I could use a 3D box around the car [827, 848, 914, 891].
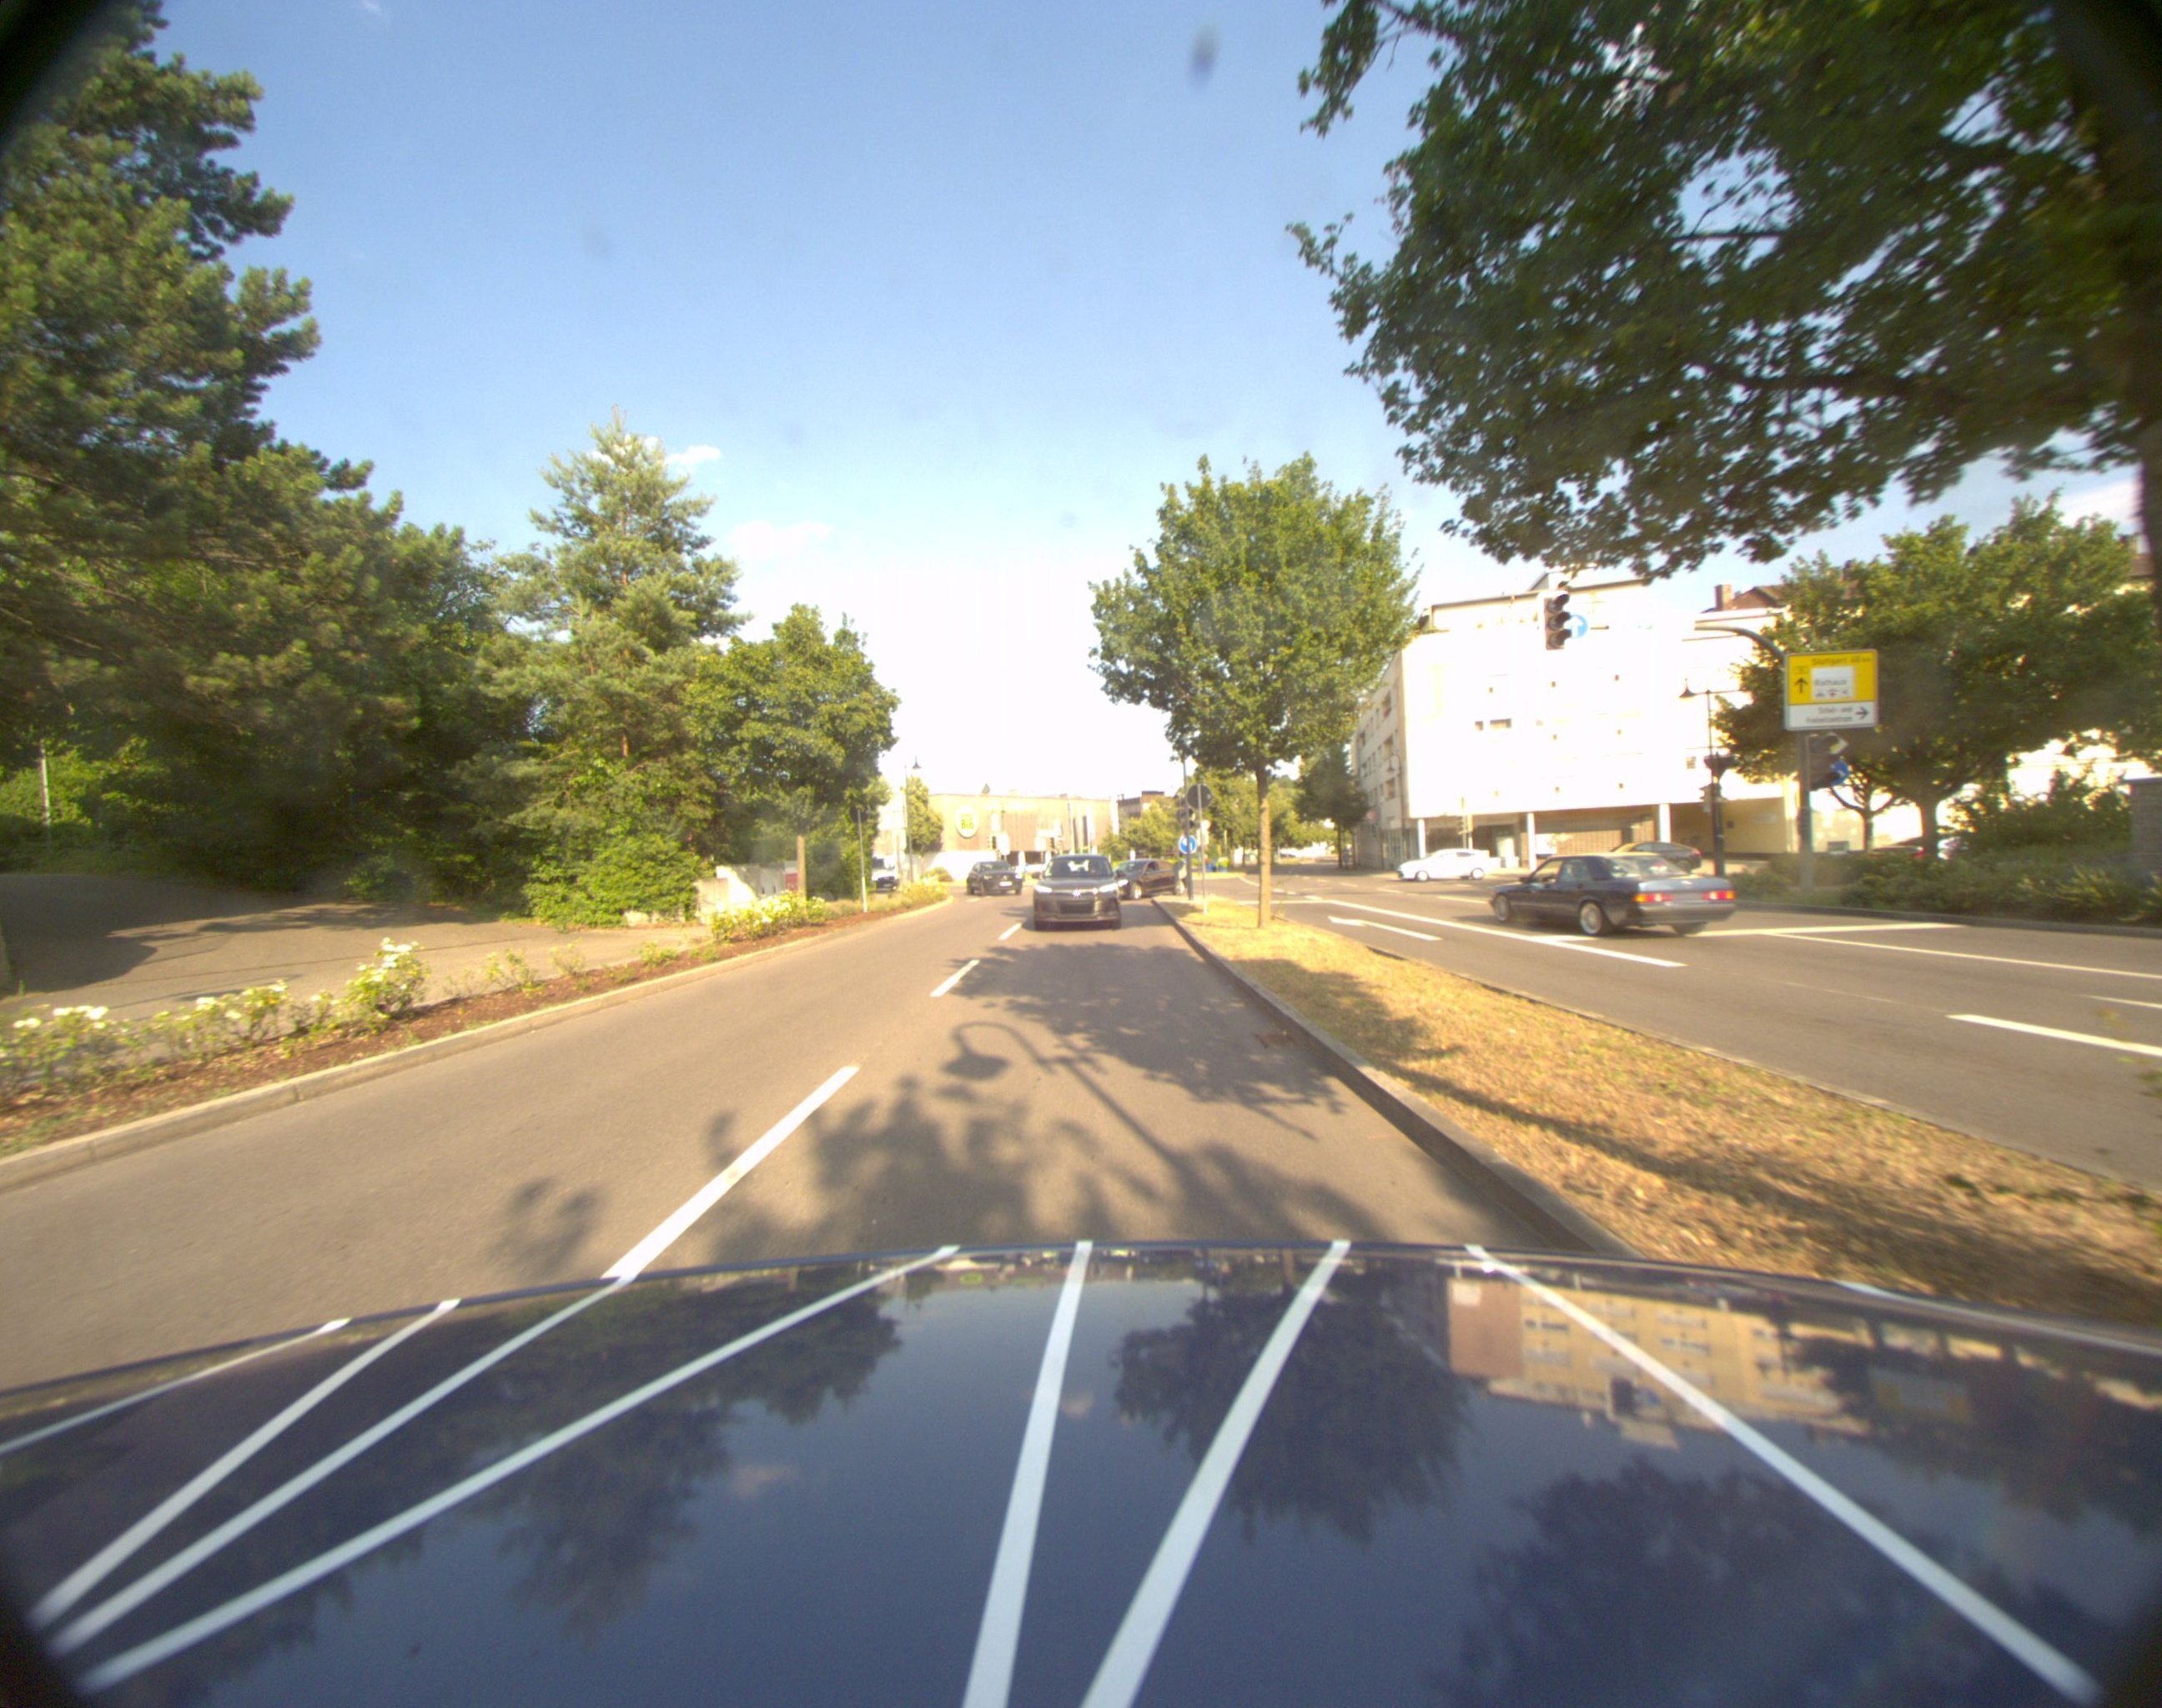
[{"bbox_3d":[-13.653,0.977,49.009,6.175,2.532,2.377,-1,1,43],"label":"car"}]

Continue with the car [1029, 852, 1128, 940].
[{"bbox_3d":[-0.051,0.827,17.391,1.894,1.647,4.729,-2,1,0],"label":"car"}]

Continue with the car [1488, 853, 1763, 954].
[{"bbox_3d":[8.979,0.717,13.050,1.766,1.346,4.161,-2,1,1],"label":"car"}]

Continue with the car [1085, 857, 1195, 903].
[{"bbox_3d":[2.262,0.917,28.103,1.682,1.427,4.598,-1,1,39],"label":"car"}]

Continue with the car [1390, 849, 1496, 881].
[{"bbox_3d":[16.976,0.503,35.821,4.127,1.346,1.768,-2,1,5],"label":"car"}]

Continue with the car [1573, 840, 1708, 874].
[{"bbox_3d":[25.309,0.125,34.504,4.661,1.346,1.768,-2,1,7],"label":"car"}]

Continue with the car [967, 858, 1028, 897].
[{"bbox_3d":[-3.897,1.019,34.822,1.889,1.599,4.121,-2,1,-19],"label":"car"}]
